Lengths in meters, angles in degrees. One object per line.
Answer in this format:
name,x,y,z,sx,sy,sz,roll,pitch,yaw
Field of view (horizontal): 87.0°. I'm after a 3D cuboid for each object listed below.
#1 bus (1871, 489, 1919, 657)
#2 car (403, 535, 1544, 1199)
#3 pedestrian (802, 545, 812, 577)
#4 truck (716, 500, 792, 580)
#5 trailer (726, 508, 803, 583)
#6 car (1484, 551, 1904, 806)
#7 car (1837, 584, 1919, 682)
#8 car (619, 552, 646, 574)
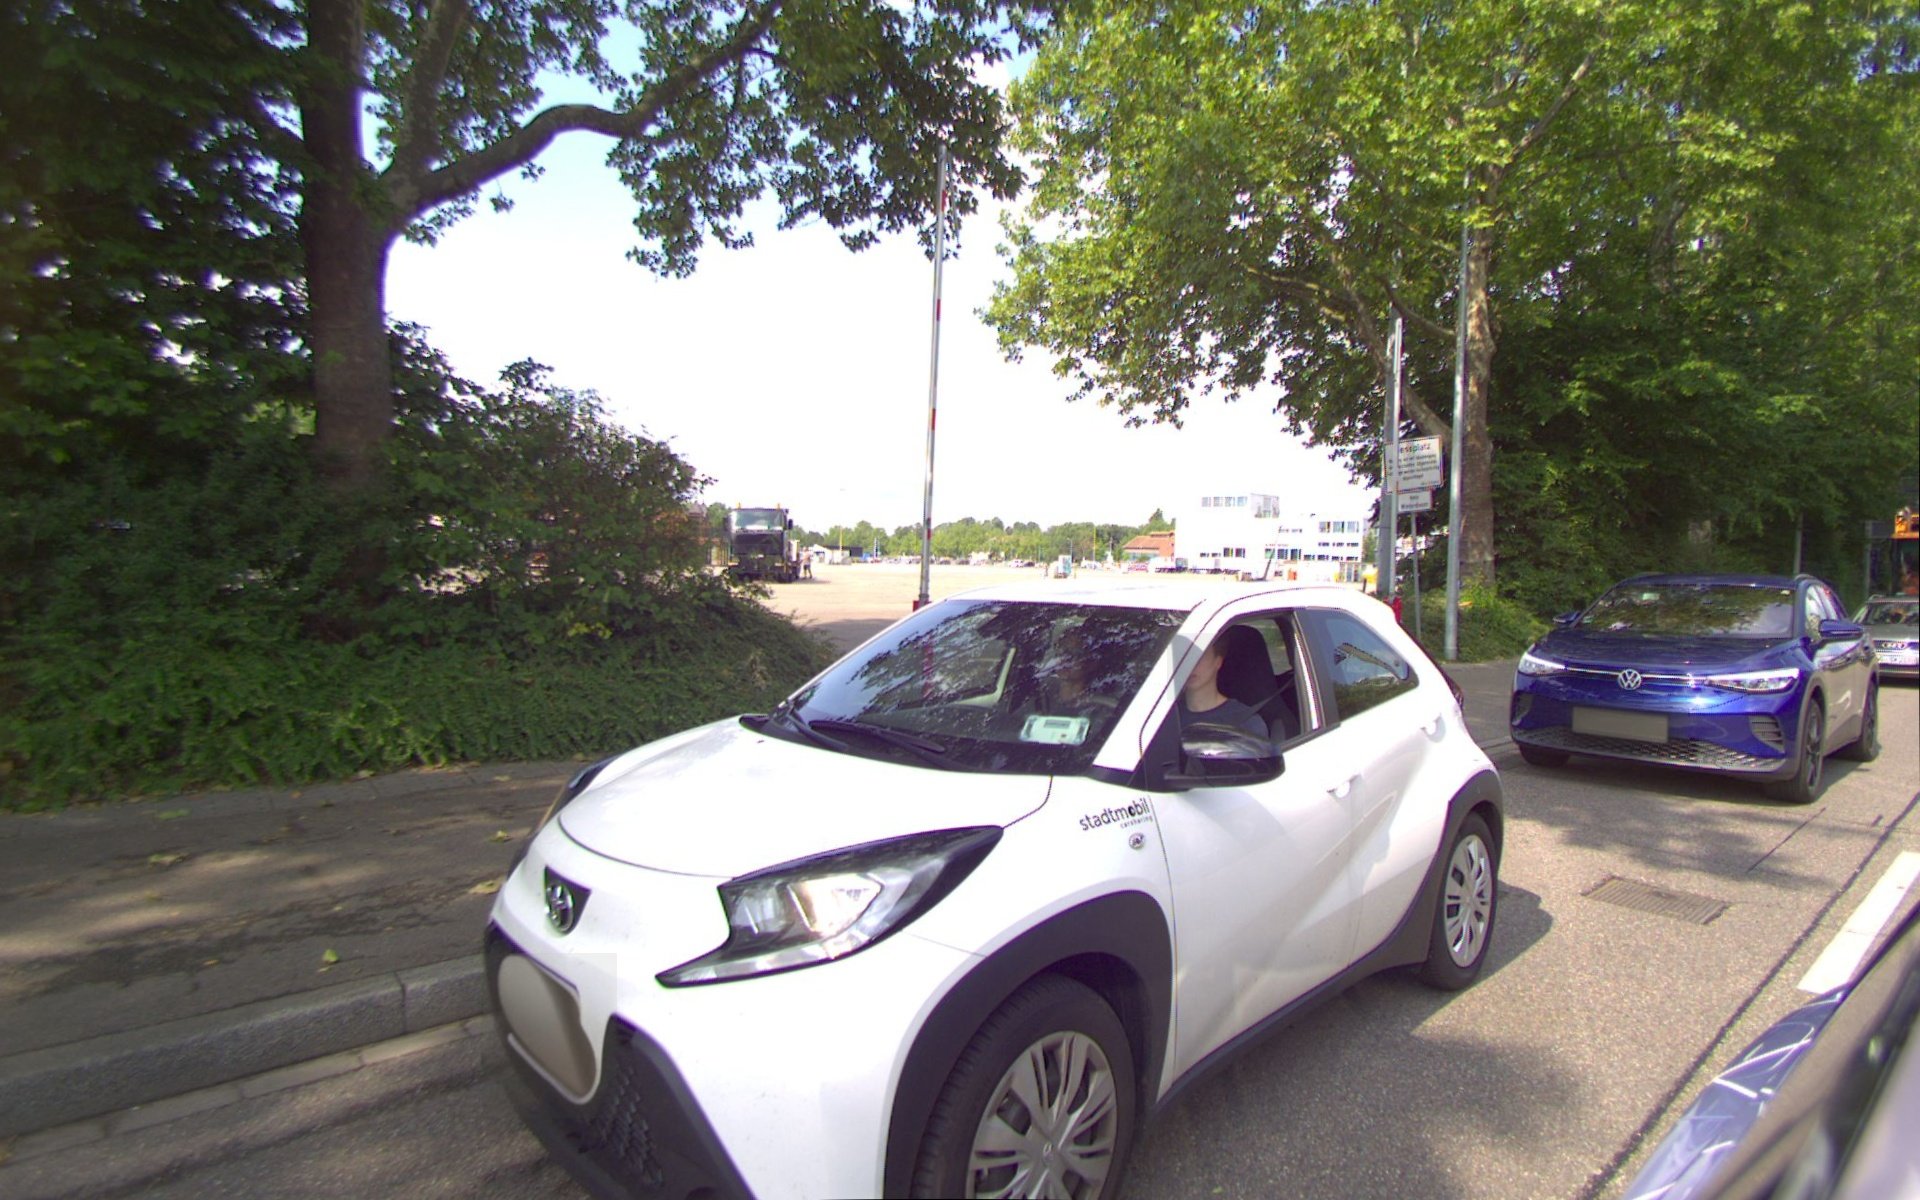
bus,24.280,-0.624,23.983,10.213,3.509,2.742,-1,1,-41
car,0.418,0.619,3.427,3.736,1.498,1.746,-1,1,-44
pedestrian,-8.395,-2.135,55.596,0.535,1.769,0.521,1,1,-8
truck,-8.795,-2.534,43.778,2.714,3.197,5.236,1,2,-6
trailer,-9.503,-2.605,50.358,2.714,3.196,12.032,1,2,-6
car,6.342,0.493,8.525,4.500,1.595,1.890,0,0,-41
car,16.024,0.480,16.734,3.930,1.482,1.770,-1,0,-41
car,-22.754,-2.549,70.344,1.463,1.438,3.491,0,0,-13
